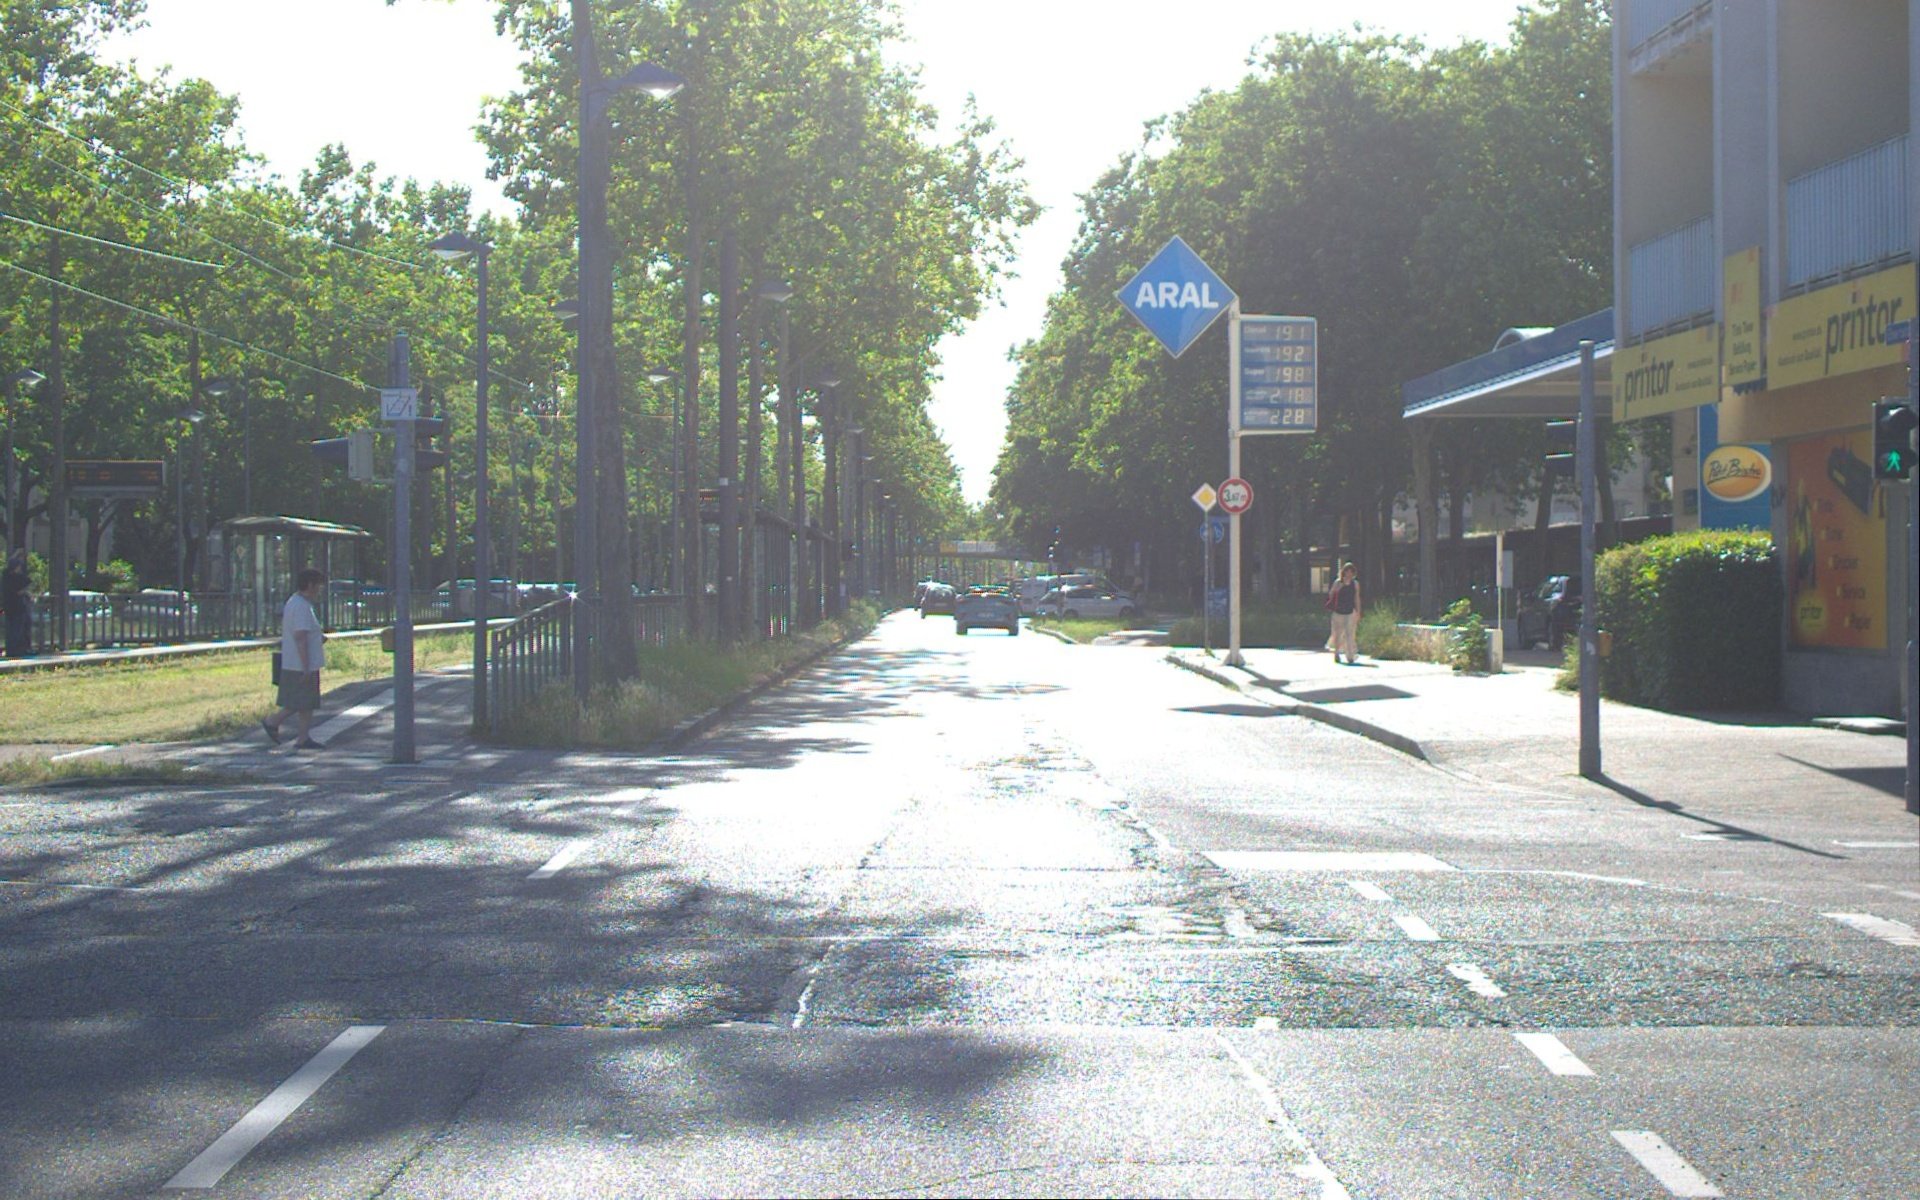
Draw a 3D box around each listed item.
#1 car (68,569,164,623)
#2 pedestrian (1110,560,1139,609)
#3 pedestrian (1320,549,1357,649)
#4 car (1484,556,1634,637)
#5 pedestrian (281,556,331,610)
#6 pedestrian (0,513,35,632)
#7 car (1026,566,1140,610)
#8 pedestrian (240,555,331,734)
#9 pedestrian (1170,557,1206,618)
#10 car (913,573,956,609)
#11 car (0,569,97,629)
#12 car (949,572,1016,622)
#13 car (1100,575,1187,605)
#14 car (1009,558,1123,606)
[{"bbox_3d":[-24.777,-0.134,101.059,1.714,1.540,4.200,0,1,1],"label":"car"},{"bbox_3d":[5.732,-0.544,119.966,0.710,1.700,0.654,-2,0,-34],"label":"pedestrian"},{"bbox_3d":[6.437,-0.023,58.482,0.604,1.696,0.552,0,1,4],"label":"pedestrian"},{"bbox_3d":[11.193,-0.079,64.466,1.720,1.458,4.006,0,0,-6],"label":"car"},{"bbox_3d":[-15.523,-0.409,81.582,0.838,1.256,0.798,1,0,29],"label":"pedestrian"},{"bbox_3d":[-15.013,-0.439,54.113,0.720,1.861,0.637,0,0,1],"label":"pedestrian"},{"bbox_3d":[4.702,-0.462,131.439,3.985,1.464,1.761,-3,1,-31],"label":"car"},{"bbox_3d":[-5.835,0.378,29.744,0.658,1.523,0.539,0,0,-26],"label":"pedestrian"},{"bbox_3d":[7.111,-0.398,107.300,0.925,1.878,0.800,0,1,-14],"label":"pedestrian"},{"bbox_3d":[-1.131,-0.407,152.692,1.849,1.530,3.866,0,1,0],"label":"car"},{"bbox_3d":[-24.241,-0.042,90.871,1.714,1.540,3.933,0,1,2],"label":"car"},{"bbox_3d":[0.642,-0.108,102.962,1.922,1.406,4.000,1,1,-1],"label":"car"},{"bbox_3d":[8.688,-0.478,162.901,4.173,1.407,1.719,0,1,-43],"label":"car"},{"bbox_3d":[4.387,-0.754,141.907,4.657,1.846,1.830,-2,1,-40],"label":"car"}]
